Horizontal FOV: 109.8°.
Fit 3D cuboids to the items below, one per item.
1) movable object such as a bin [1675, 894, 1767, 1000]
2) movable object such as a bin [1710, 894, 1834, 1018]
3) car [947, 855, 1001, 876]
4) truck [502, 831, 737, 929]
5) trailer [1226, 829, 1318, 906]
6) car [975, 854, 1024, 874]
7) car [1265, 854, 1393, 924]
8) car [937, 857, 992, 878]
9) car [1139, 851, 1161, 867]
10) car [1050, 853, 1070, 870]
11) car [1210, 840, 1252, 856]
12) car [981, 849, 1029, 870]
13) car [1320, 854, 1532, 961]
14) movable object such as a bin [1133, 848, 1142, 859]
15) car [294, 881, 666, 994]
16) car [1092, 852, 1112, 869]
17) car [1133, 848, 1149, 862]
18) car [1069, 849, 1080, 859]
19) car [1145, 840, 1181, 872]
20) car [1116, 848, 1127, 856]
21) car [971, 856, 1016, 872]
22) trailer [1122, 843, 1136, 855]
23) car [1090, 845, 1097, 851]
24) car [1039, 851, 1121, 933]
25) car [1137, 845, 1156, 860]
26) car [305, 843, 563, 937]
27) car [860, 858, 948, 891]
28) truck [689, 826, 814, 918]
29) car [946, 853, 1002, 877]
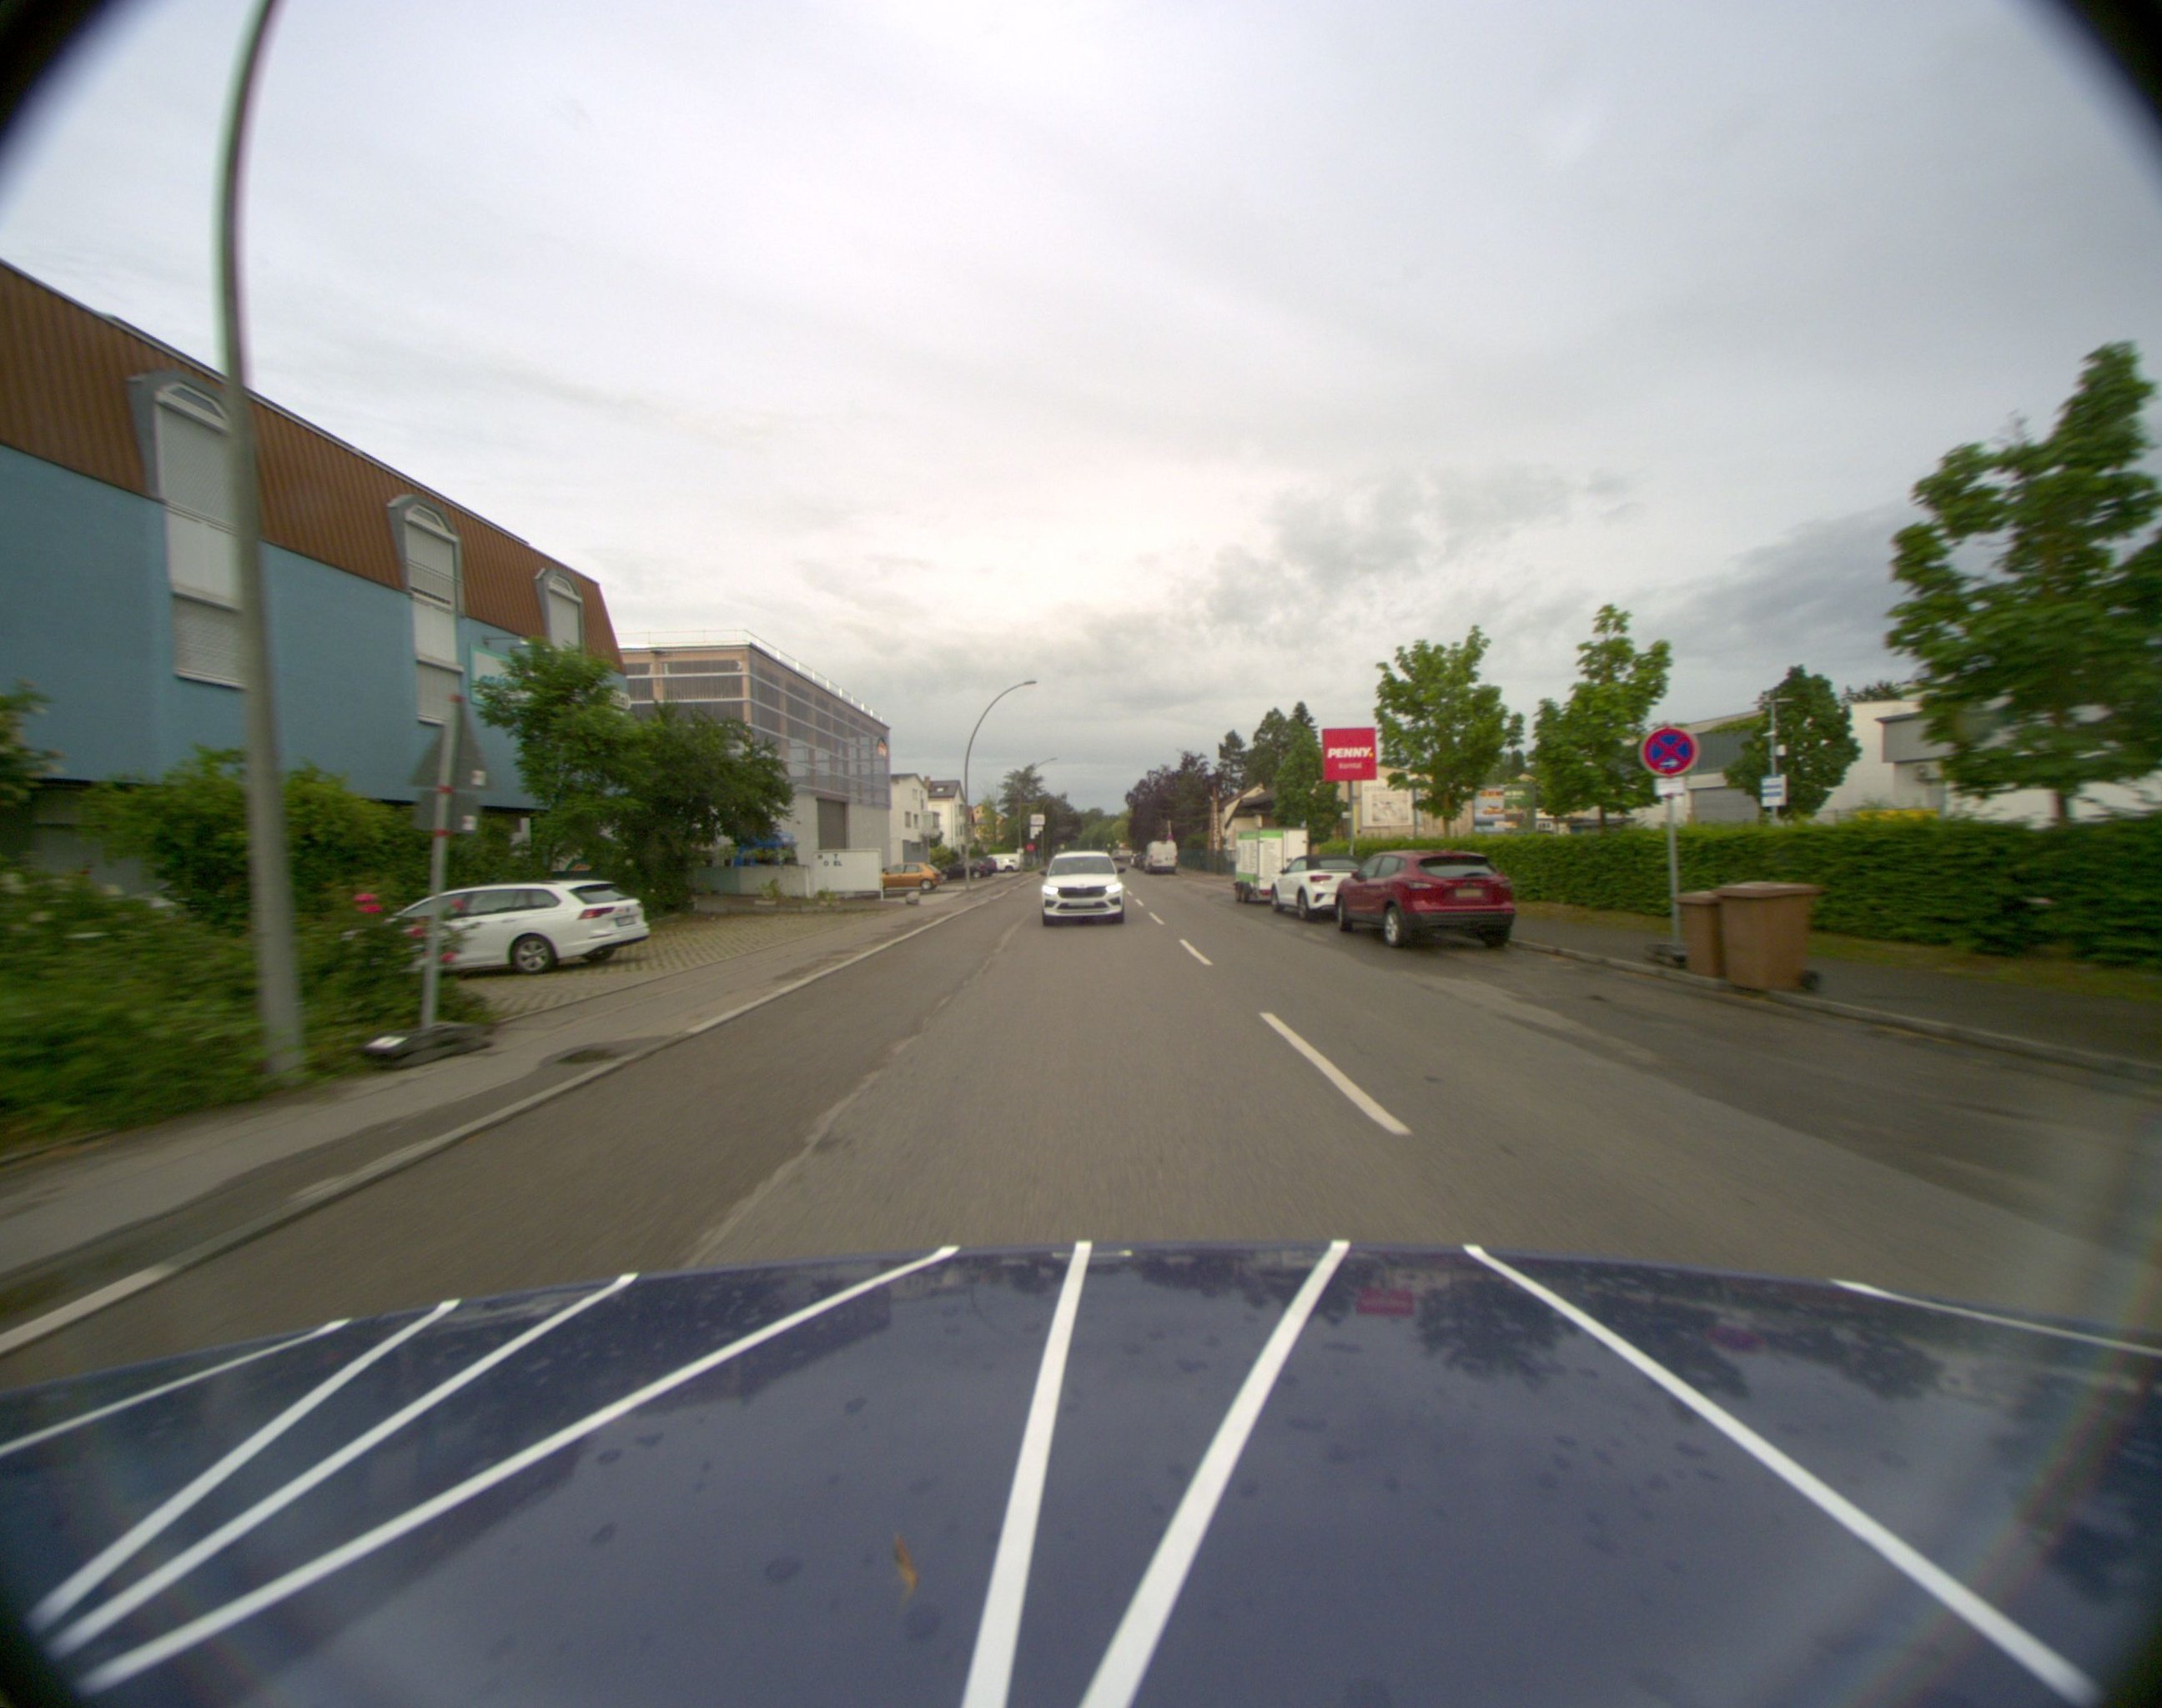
[{"bbox_3d":[7.141,1.023,8.502,0.492,1.076,0.621,-3,1,5],"label":"movable object such as a bin"},{"bbox_3d":[7.025,1.017,7.755,0.674,1.151,0.621,-3,1,5],"label":"movable object such as a bin"},{"bbox_3d":[-9.191,0.981,65.528,4.254,1.527,1.811,-4,1,1],"label":"car"},{"bbox_3d":[-20.524,1.098,34.171,8.557,3.686,2.721,-4,1,-1],"label":"truck"},{"bbox_3d":[6.157,0.388,25.057,1.817,2.300,4.729,0,0,0],"label":"trailer"},{"bbox_3d":[-7.882,0.983,73.742,4.457,1.615,1.893,-3,1,0],"label":"car"},{"bbox_3d":[5.938,0.769,18.736,1.777,1.490,4.136,-2,0,0],"label":"car"},{"bbox_3d":[-9.198,1.058,60.352,3.976,1.481,1.833,-3,1,2],"label":"car"},{"bbox_3d":[6.607,0.479,73.069,1.665,1.440,4.316,0,1,-1],"label":"car"},{"bbox_3d":[-2.036,0.733,73.834,1.743,1.458,4.544,-3,1,0],"label":"car"},{"bbox_3d":[19.227,-0.789,97.351,5.010,1.846,2.000,-3,1,3],"label":"car"},{"bbox_3d":[-7.884,0.572,79.005,4.743,1.875,2.000,-3,1,1],"label":"car"},{"bbox_3d":[5.909,0.805,13.673,1.810,1.564,4.342,-1,0,0],"label":"car"},{"bbox_3d":[7.648,-0.069,103.526,1.103,1.303,1.425,-3,1,0],"label":"movable object such as a bin"},{"bbox_3d":[-9.527,1.282,12.345,4.427,1.384,1.880,-3,0,-1],"label":"car"},{"bbox_3d":[1.947,0.583,71.974,1.743,1.458,3.838,-3,1,0],"label":"car"},{"bbox_3d":[6.869,0.128,87.356,1.620,1.500,3.660,-1,1,1],"label":"car"},{"bbox_3d":[-1.224,-0.014,146.896,1.736,1.817,5.552,-4,1,2],"label":"car"},{"bbox_3d":[6.507,0.098,60.827,2.163,2.413,6.459,1,1,1],"label":"car"},{"bbox_3d":[7.471,-0.321,139.789,1.821,1.419,4.980,-1,1,1],"label":"car"},{"bbox_3d":[-8.792,1.003,76.606,4.331,1.371,1.850,-3,1,0],"label":"car"},{"bbox_3d":[7.542,-0.814,119.163,1.934,1.755,4.547,-2,1,1],"label":"trailer"},{"bbox_3d":[3.421,-1.646,208.633,1.898,1.678,4.230,-1,1,1],"label":"car"},{"bbox_3d":[-0.074,0.808,18.452,1.692,1.651,3.999,-3,1,-2],"label":"car"},{"bbox_3d":[7.043,-0.137,81.991,1.665,1.575,3.915,0,1,0],"label":"car"},{"bbox_3d":[-14.207,0.680,17.133,1.999,1.730,4.428,-3,1,-2],"label":"car"},{"bbox_3d":[-8.808,1.015,37.991,3.997,1.422,1.630,-2,1,-1],"label":"car"},{"bbox_3d":[-14.761,0.760,34.304,4.155,3.653,2.719,-5,1,-2],"label":"truck"},{"bbox_3d":[-8.814,0.891,62.852,4.237,1.665,1.980,-3,1,0],"label":"car"}]
